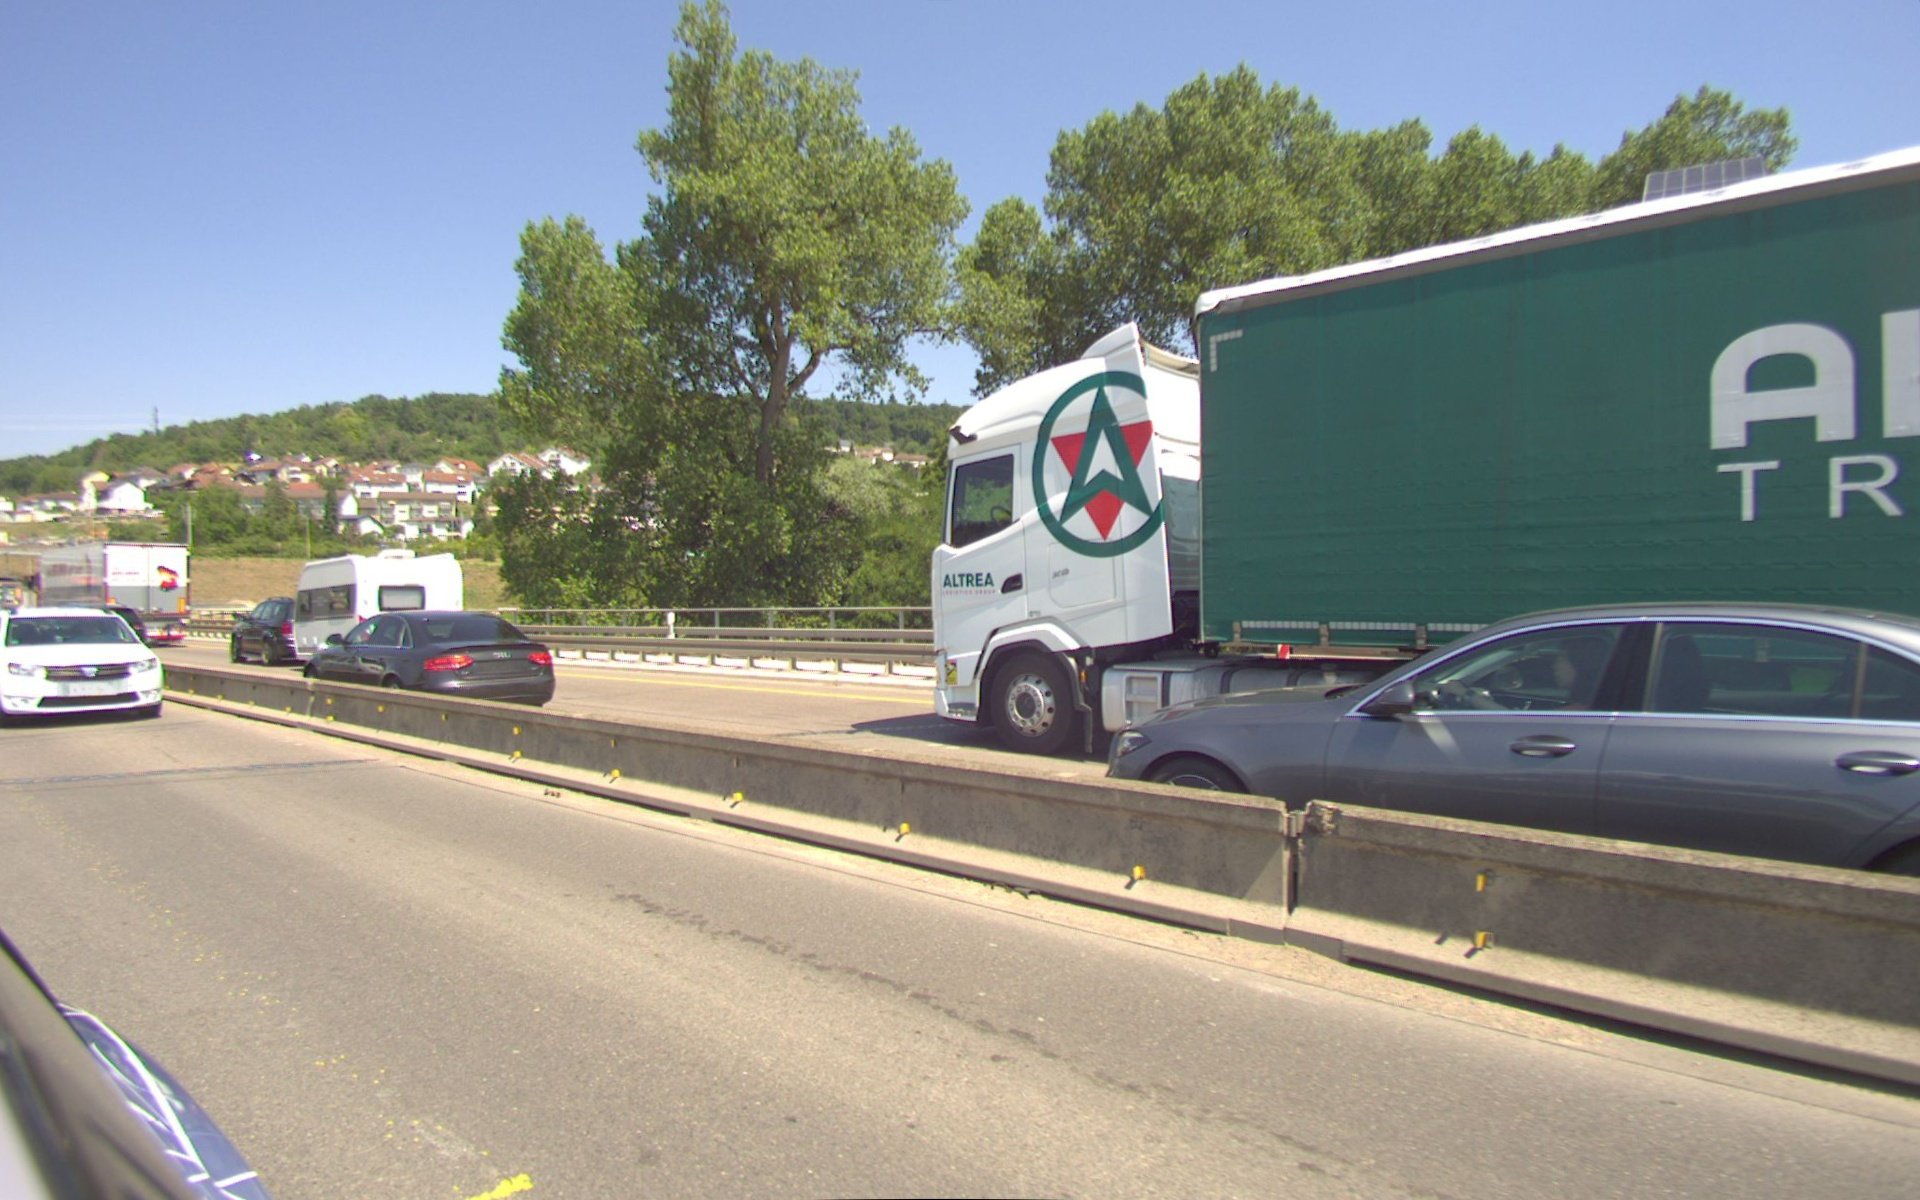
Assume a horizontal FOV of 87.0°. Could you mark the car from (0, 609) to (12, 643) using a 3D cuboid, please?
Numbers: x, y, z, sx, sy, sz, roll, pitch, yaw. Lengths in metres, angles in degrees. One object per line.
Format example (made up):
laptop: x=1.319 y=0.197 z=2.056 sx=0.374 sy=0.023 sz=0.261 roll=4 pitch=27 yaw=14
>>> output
car: x=-43.927 y=1.149 z=45.093 sx=4.190 sy=1.472 sz=1.882 roll=-1 pitch=-3 yaw=39

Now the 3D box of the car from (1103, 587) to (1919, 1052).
car: x=3.099 y=0.716 z=4.529 sx=4.605 sy=1.470 sz=1.846 roll=-1 pitch=1 yaw=41

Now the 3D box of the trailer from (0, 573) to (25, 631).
trailer: x=-65.139 y=0.147 z=67.618 sx=8.948 sy=3.700 sz=2.766 roll=0 pitch=0 yaw=39

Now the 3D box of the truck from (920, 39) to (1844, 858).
truck: x=3.247 y=-0.825 z=9.158 sx=7.100 sy=4.571 sz=3.045 roll=-1 pitch=0 yaw=42

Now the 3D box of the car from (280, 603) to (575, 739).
car: x=-7.075 y=0.809 z=13.238 sx=4.533 sy=1.431 sz=1.760 roll=-1 pitch=1 yaw=39

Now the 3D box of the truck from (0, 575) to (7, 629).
truck: x=-68.935 y=0.122 z=70.734 sx=5.369 sy=3.750 sz=2.769 roll=0 pitch=0 yaw=40

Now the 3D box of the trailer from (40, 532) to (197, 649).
trailer: x=-34.286 y=-0.242 z=40.980 sx=11.788 sy=4.208 sz=2.778 roll=-1 pitch=-1 yaw=40

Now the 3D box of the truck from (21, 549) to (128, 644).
truck: x=-40.540 y=-0.098 z=46.265 sx=6.518 sy=4.068 sz=2.787 roll=-1 pitch=0 yaw=41

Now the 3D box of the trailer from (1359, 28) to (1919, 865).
trailer: x=8.808 y=-0.853 z=4.249 sx=13.013 sy=4.499 sz=3.069 roll=-1 pitch=-1 yaw=41

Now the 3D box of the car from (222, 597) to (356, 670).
car: x=-17.819 y=0.836 z=26.784 sx=4.788 sy=1.747 sz=1.749 roll=-1 pitch=0 yaw=41

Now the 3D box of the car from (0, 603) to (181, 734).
car: x=-12.635 y=0.835 z=14.188 sx=4.703 sy=1.542 sz=1.800 roll=-1 pitch=0 yaw=41

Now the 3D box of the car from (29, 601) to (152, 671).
car: x=-23.947 y=0.939 z=27.817 sx=4.615 sy=1.700 sz=1.829 roll=-1 pitch=1 yaw=40

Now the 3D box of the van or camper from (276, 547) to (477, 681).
van or camper: x=-13.520 y=0.309 z=23.312 sx=5.241 sy=2.719 sz=2.477 roll=-1 pitch=0 yaw=42
